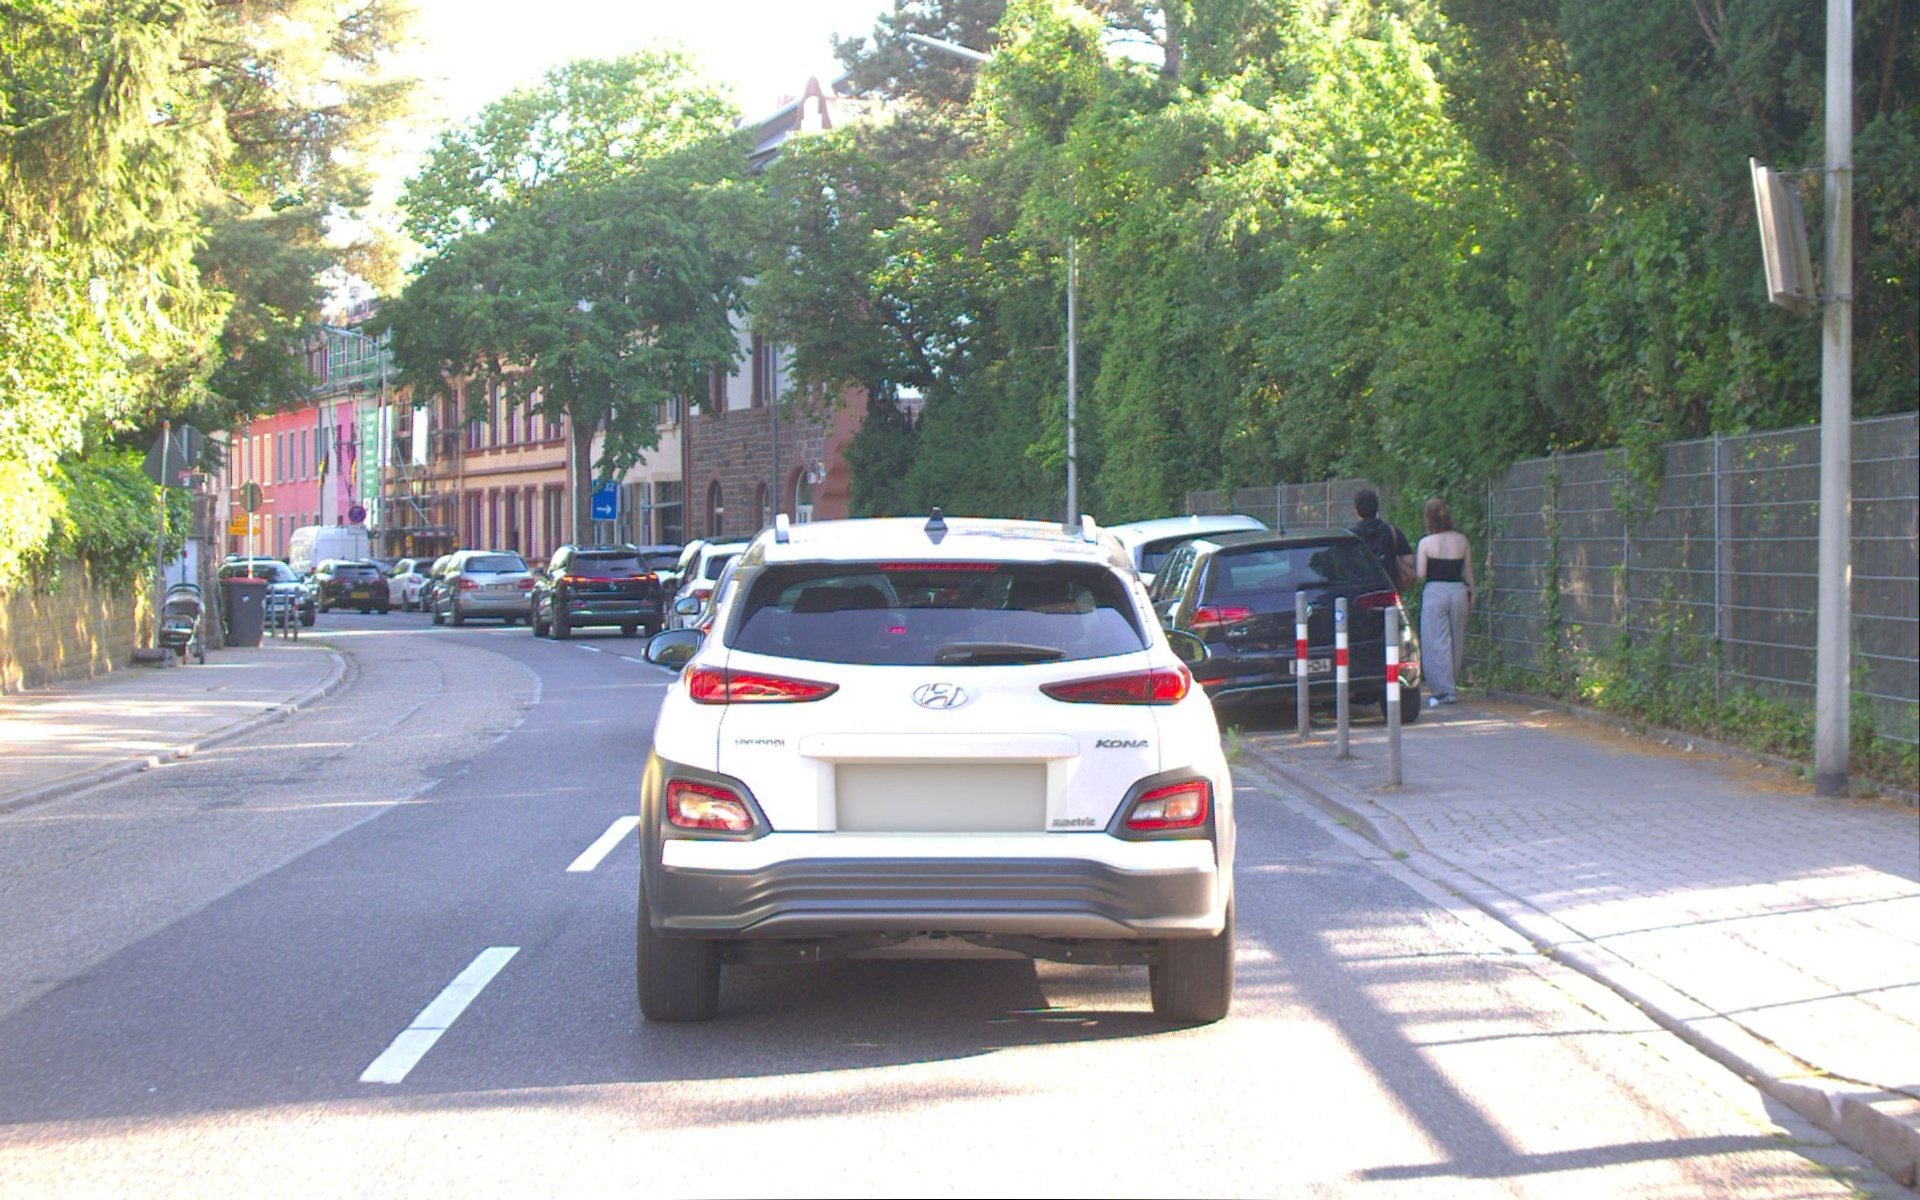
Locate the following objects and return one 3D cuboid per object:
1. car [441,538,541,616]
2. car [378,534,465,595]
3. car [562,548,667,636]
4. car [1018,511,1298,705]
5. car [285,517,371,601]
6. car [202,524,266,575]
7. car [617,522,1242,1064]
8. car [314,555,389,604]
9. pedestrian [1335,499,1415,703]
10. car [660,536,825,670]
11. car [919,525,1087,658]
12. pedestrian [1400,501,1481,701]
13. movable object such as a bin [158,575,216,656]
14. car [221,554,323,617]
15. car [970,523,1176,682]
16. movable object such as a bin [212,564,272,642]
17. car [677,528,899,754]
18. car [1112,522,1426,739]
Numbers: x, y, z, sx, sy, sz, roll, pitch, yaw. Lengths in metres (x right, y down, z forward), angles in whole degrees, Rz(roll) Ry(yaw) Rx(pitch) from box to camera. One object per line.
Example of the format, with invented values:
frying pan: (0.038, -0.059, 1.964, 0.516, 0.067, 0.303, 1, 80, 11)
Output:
car: (-9.913, -0.503, 72.557, 1.589, 1.577, 3.362, -1, 1, -16)
car: (-15.094, -1.019, 96.201, 1.755, 1.611, 4.001, 0, 2, -18)
car: (-6.027, -0.156, 59.735, 1.592, 1.456, 3.100, -1, 1, -10)
car: (1.710, 0.046, 30.961, 1.593, 1.560, 4.001, -3, 1, -10)
car: (-20.158, -1.317, 109.535, 1.928, 2.574, 4.395, -2, 1, -20)
car: (-28.271, -1.967, 133.753, 1.717, 1.929, 4.001, -2, 1, -22)
car: (-0.102, 0.517, 11.773, 1.772, 1.537, 4.000, 0, 1, 0)
car: (-16.142, -0.548, 91.092, 1.526, 1.256, 3.362, -1, 1, -17)
pedestrian: (3.327, 0.004, 27.558, 0.503, 1.601, 0.491, -3, 1, -1)
car: (-2.567, 0.003, 39.938, 1.570, 1.472, 3.549, 0, 1, -9)
car: (0.482, -0.137, 42.184, 1.593, 1.484, 3.603, -3, 1, -6)
pedestrian: (3.848, 0.001, 27.565, 0.503, 1.563, 0.503, -3, 1, -1)
movable object such as a bin: (-9.738, 0.191, 43.353, 0.495, 1.008, 1.113, 1, 0, -1)
car: (-14.863, -0.334, 74.151, 1.592, 1.313, 3.813, 0, 1, -20)
car: (1.141, 0.000, 36.388, 1.593, 1.514, 3.933, -3, 1, -6)
movable object such as a bin: (-11.143, 0.042, 53.380, 0.791, 1.185, 0.773, 1, 0, -2)
car: (-1.291, 0.248, 25.550, 1.511, 1.528, 3.548, -1, 1, -3)
car: (2.237, 0.171, 25.854, 1.686, 1.426, 4.001, -3, 1, -4)
